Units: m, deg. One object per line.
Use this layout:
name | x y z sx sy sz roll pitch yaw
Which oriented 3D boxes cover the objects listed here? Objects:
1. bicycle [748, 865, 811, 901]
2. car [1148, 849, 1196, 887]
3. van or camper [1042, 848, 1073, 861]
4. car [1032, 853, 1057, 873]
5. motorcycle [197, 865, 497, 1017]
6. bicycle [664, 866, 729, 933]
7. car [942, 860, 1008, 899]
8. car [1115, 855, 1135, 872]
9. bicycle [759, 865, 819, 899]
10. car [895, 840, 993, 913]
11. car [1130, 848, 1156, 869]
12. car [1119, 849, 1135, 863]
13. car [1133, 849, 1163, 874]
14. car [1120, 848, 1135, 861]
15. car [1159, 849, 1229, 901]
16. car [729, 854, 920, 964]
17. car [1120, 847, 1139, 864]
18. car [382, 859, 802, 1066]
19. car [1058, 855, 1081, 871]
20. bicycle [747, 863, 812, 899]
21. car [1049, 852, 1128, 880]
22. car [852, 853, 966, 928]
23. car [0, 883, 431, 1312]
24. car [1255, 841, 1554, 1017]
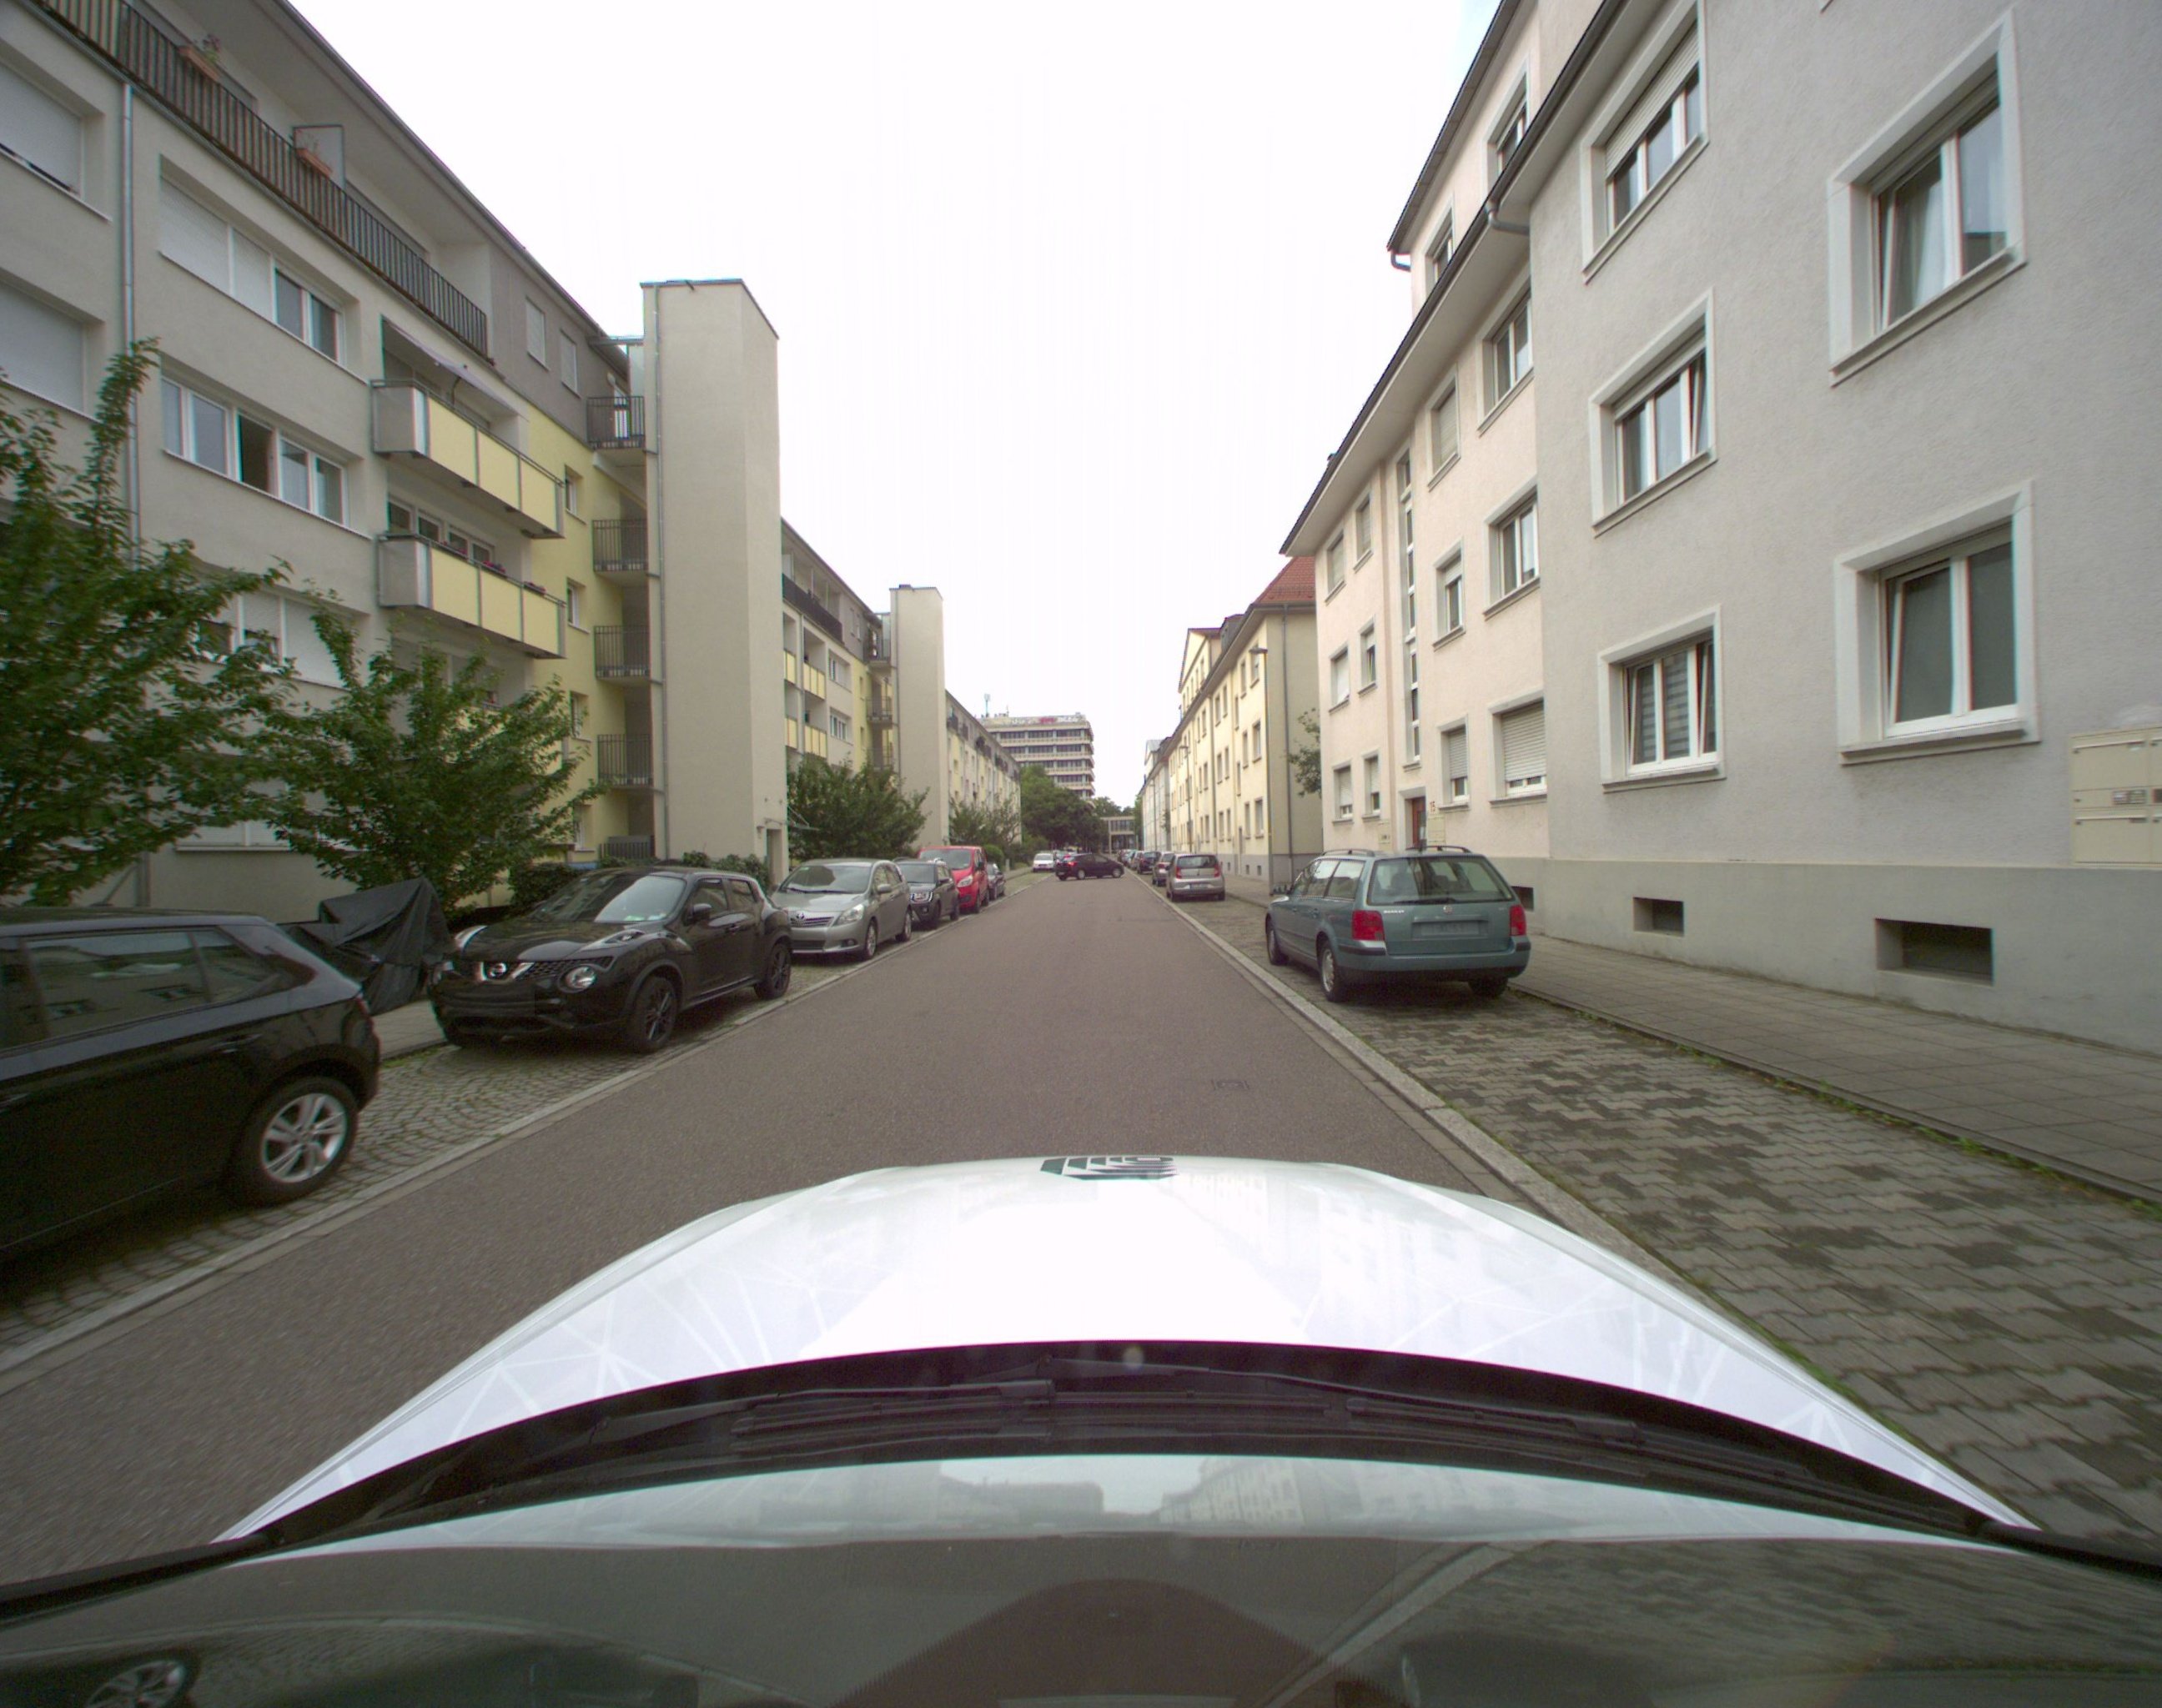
bicycle | -9.814 0.942 26.504 1.827 1.118 0.571 -1 0 3
car | 3.957 0.569 35.932 1.719 1.517 4.062 -2 0 1
van or camper | -3.931 0.045 138.082 5.159 2.013 1.998 -2 0 -3
car | -2.885 0.688 65.483 1.714 1.570 3.871 1 0 2
motorcycle | -7.419 0.792 8.483 0.866 1.307 2.421 0 0 2
bicycle | -7.413 0.842 15.787 0.551 1.192 1.725 -2 0 -6
car | -3.916 0.907 30.743 1.864 1.323 4.361 0 0 0
car | 3.957 0.857 73.477 1.718 1.476 4.506 0 0 2
bicycle | -9.840 0.933 27.481 1.824 1.118 0.571 -1 0 7
car | -3.993 0.610 24.684 2.145 1.954 4.920 1 0 -1
car | 4.781 0.327 63.106 1.842 1.450 3.834 -2 0 2
car | 5.581 0.223 98.579 1.813 1.503 4.093 -2 0 2
car | 4.307 0.465 52.741 1.719 1.517 4.062 -2 0 1
car | 5.869 0.040 103.430 1.813 1.603 4.093 -2 0 2
car | 3.494 0.610 25.790 1.719 1.492 4.062 -1 0 1
car | -4.210 0.801 14.277 1.829 1.570 4.860 1 0 -1
car | 4.851 0.131 82.342 1.813 1.642 4.093 -2 0 2
car | -4.417 0.837 8.178 1.646 1.530 3.899 1 0 4
car | -1.084 0.826 76.668 1.837 1.451 4.504 0 0 3
bicycle | -9.535 0.855 25.827 1.828 1.118 0.605 0 0 0
car | 0.434 0.662 45.976 4.255 1.433 1.887 -1 0 -41
car | -3.963 0.785 19.433 1.714 1.570 4.055 1 0 2
car | -4.667 0.902 2.811 1.637 1.438 3.858 1 0 2
car | 3.225 0.635 9.117 1.719 1.469 4.265 -1 0 1
